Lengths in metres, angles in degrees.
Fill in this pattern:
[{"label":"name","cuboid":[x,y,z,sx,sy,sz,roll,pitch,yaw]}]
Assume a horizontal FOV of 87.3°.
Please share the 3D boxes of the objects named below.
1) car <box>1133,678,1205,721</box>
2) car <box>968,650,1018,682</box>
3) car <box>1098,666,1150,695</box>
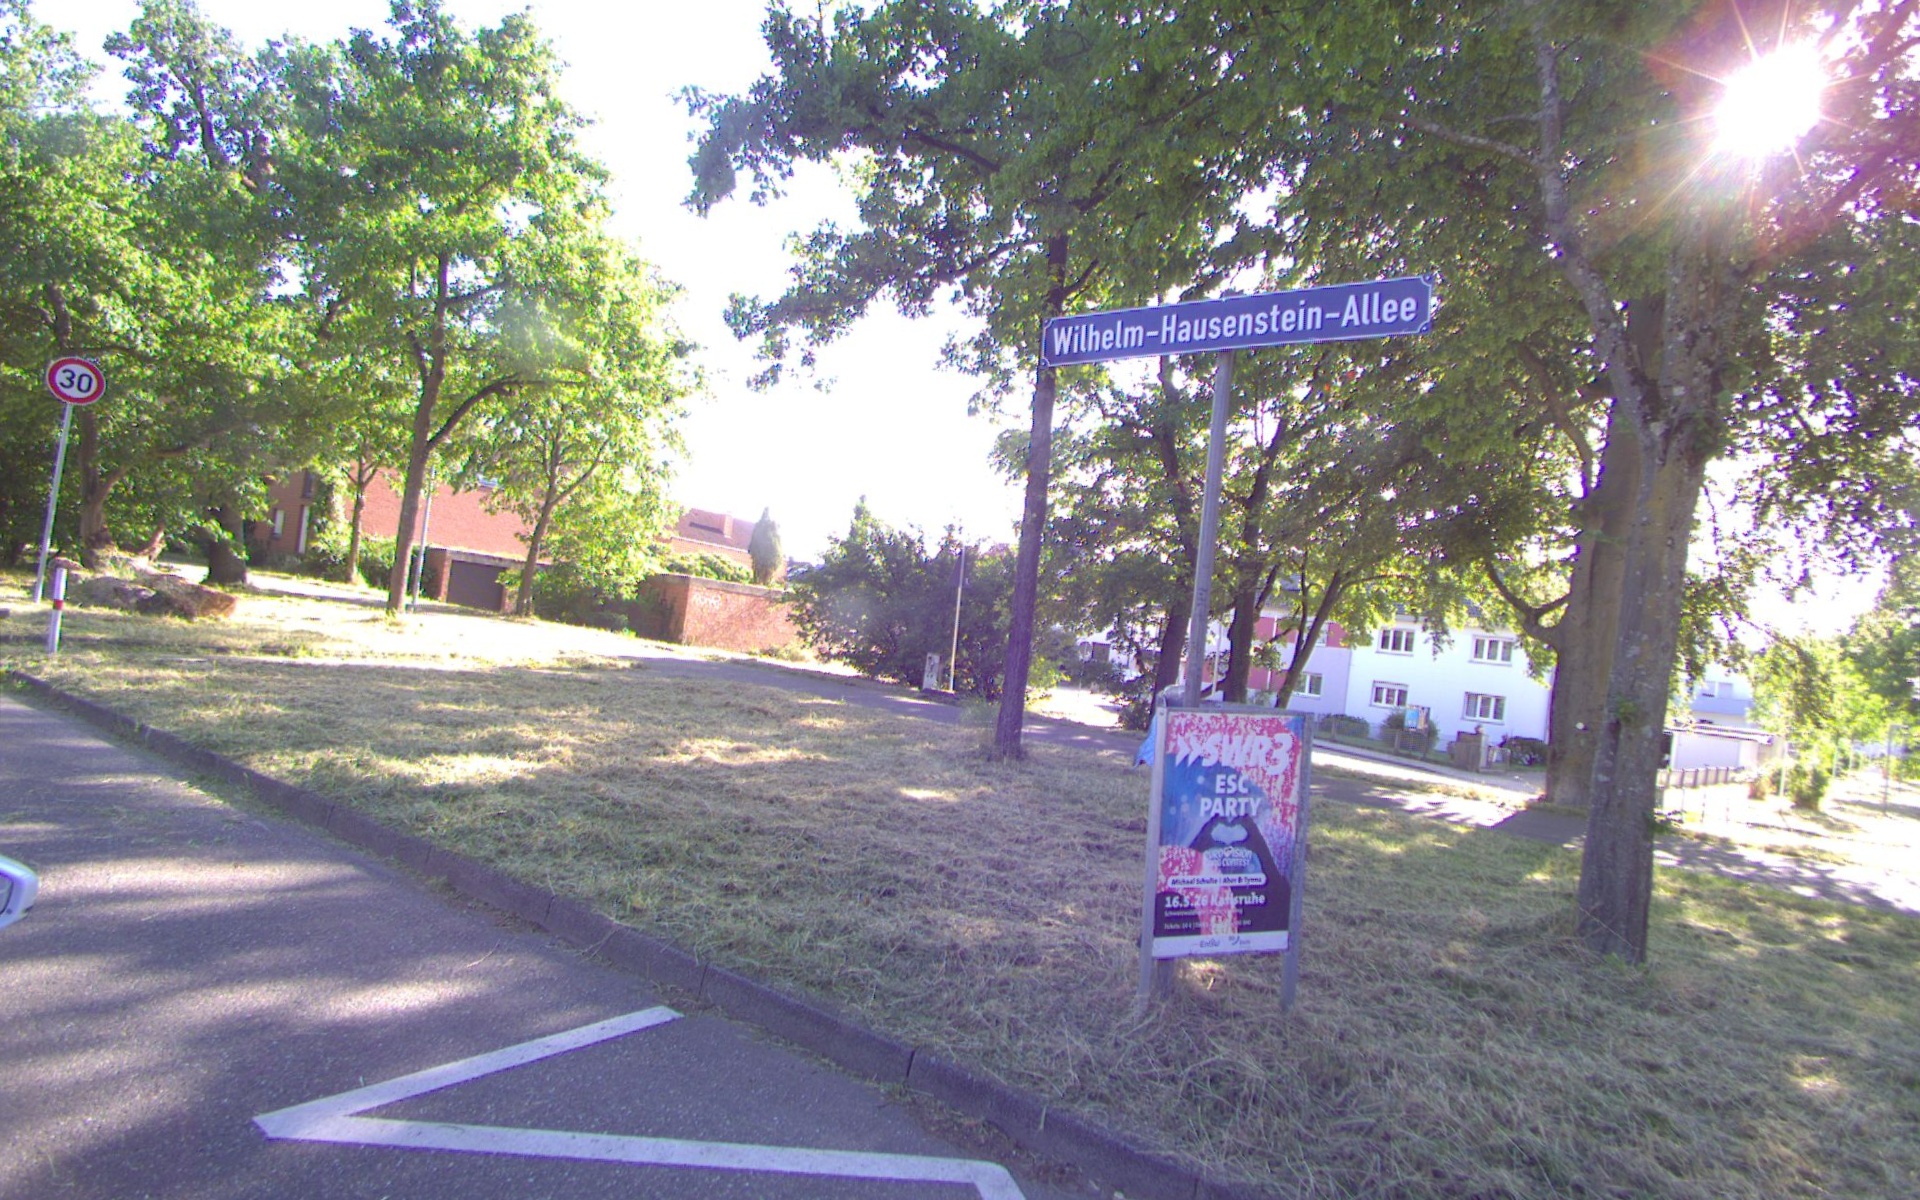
[{"label":"car","cuboid":[9.948,4.733,48.136,1.514,1.569,3.160,9,-2,-29]},{"label":"car","cuboid":[2.110,4.267,65.240,1.787,1.634,3.623,9,-2,-22]},{"label":"car","cuboid":[11.285,5.542,68.993,3.616,1.515,1.434,10,-3,-41]}]
